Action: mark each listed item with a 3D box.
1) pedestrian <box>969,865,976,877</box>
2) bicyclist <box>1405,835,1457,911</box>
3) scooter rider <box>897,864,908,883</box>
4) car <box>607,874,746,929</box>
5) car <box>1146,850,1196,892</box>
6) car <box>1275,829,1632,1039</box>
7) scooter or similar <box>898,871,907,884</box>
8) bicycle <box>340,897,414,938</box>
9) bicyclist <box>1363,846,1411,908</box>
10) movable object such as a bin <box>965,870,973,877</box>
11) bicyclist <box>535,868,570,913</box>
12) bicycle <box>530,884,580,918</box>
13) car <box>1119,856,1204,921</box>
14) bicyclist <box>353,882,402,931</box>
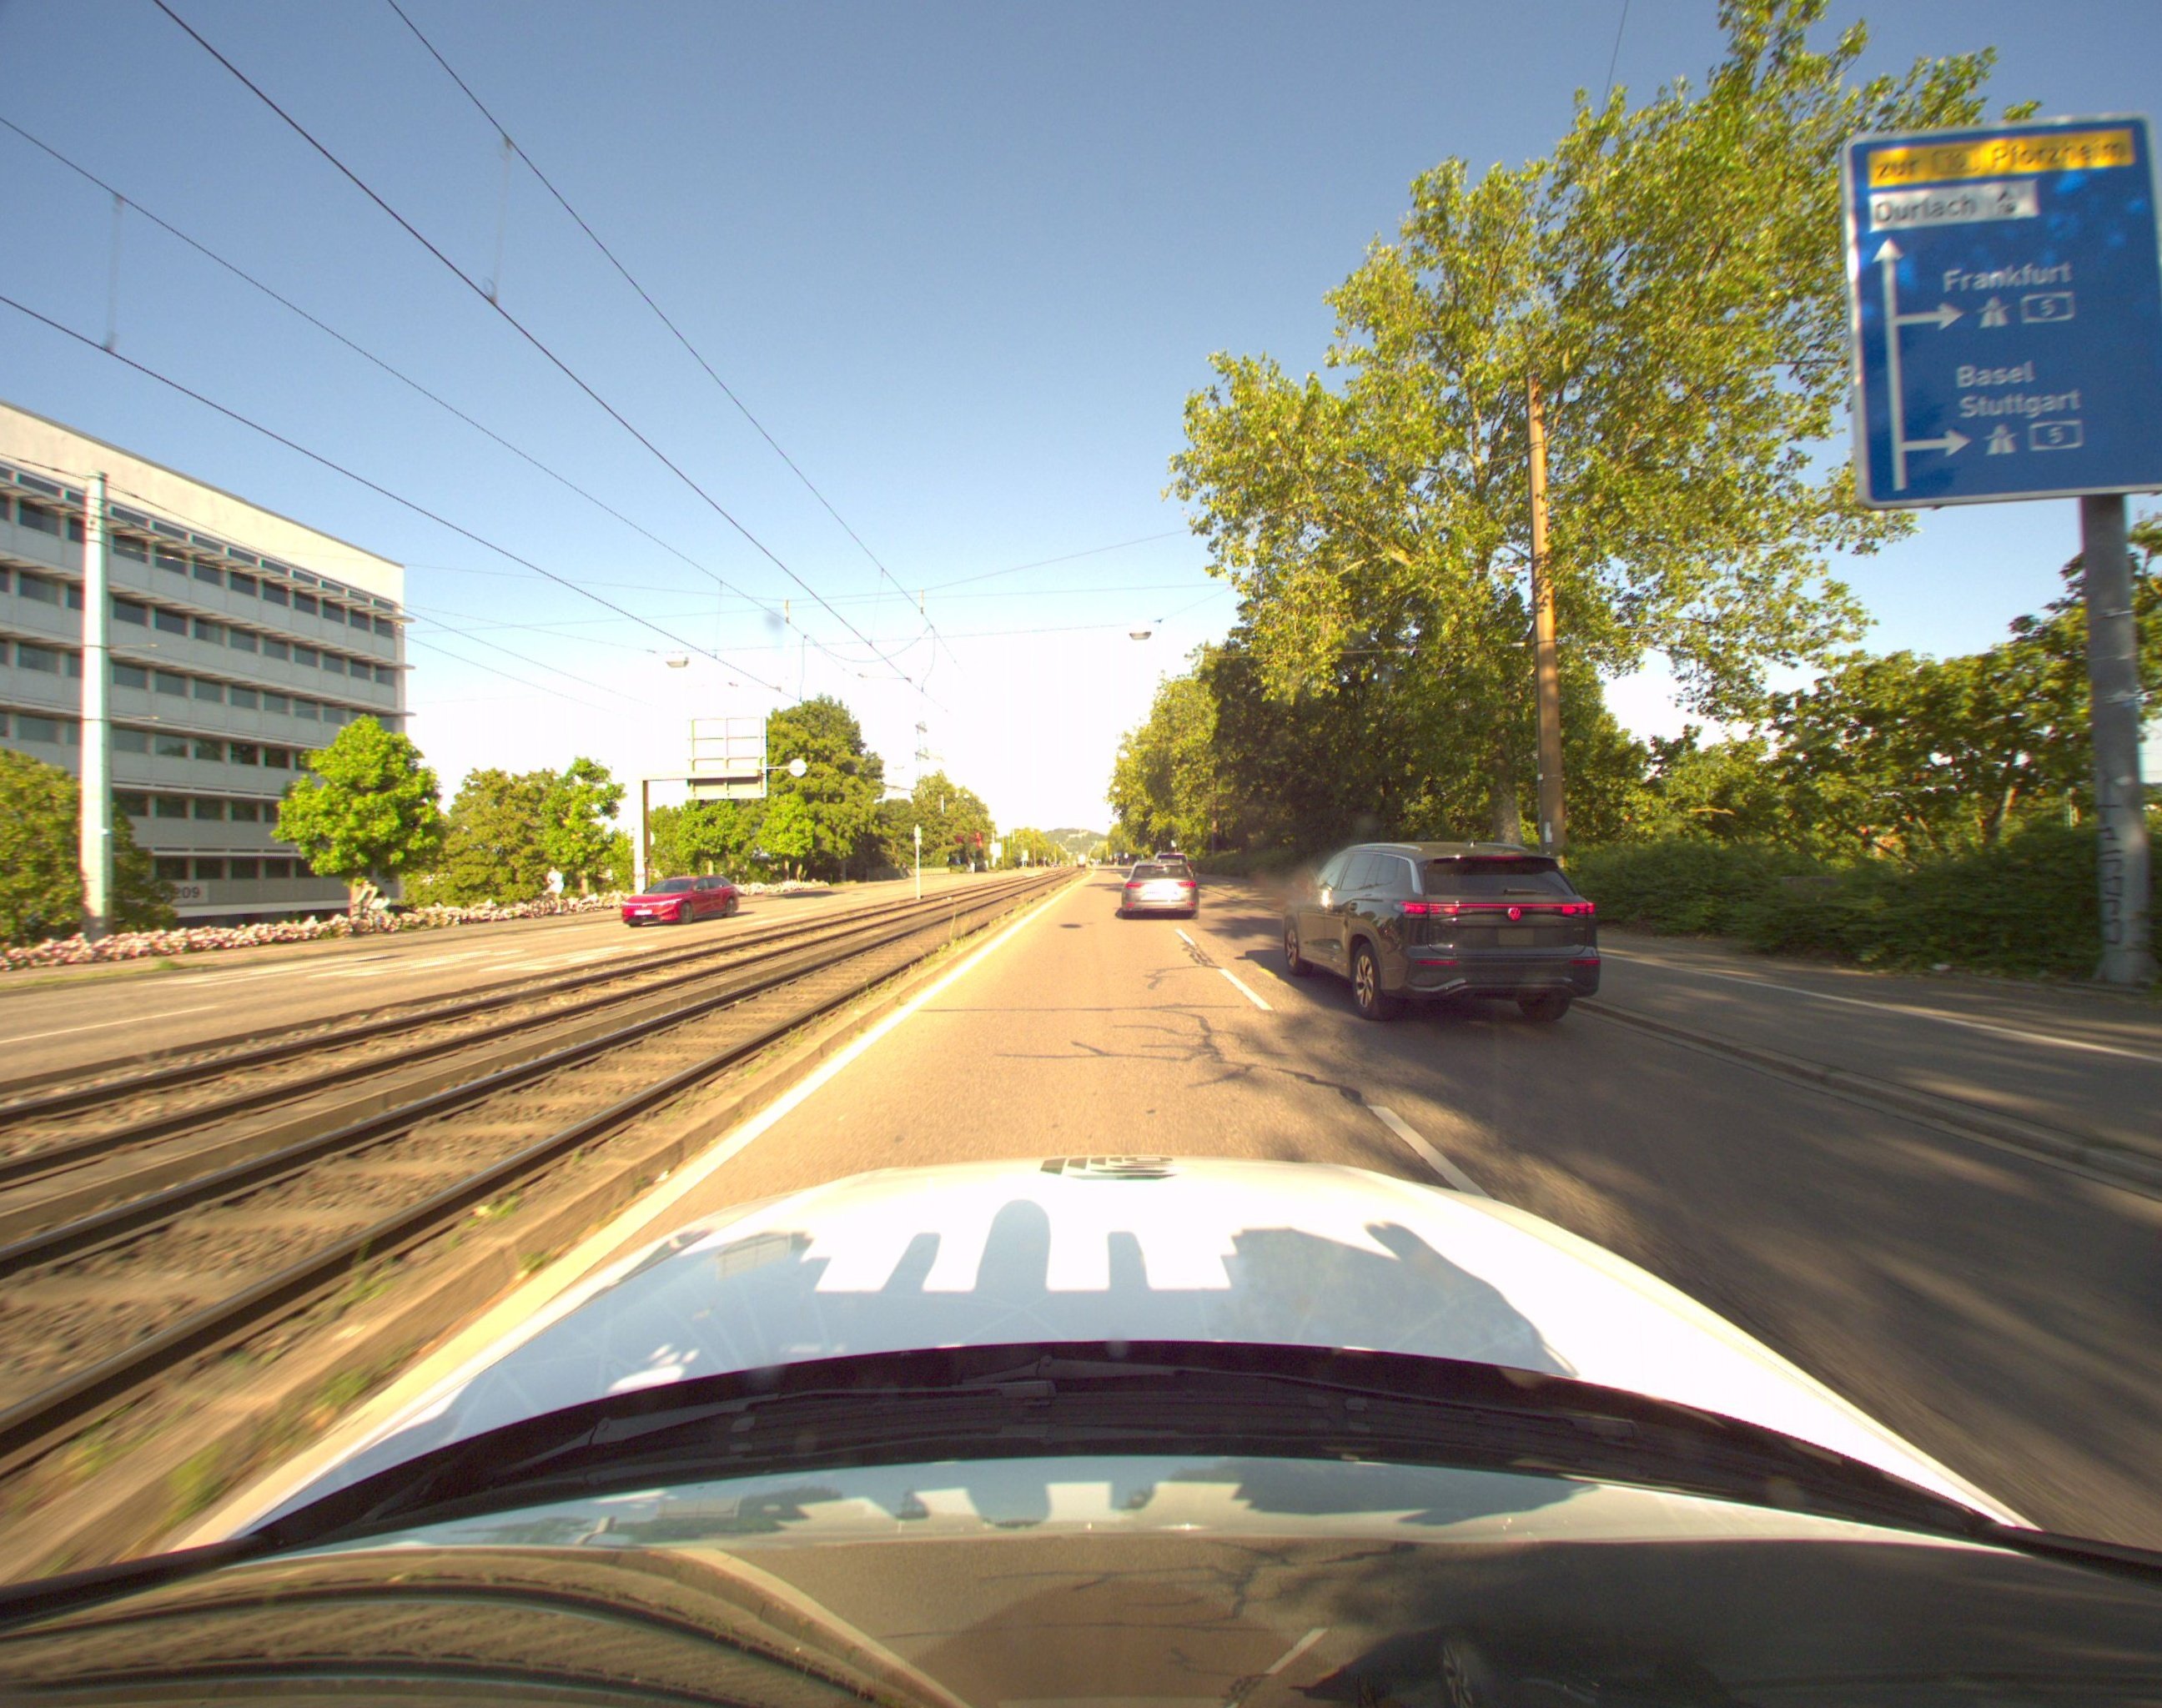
[{"bbox_3d":[-16.529,2.605,123.913,0.718,1.756,0.840,0,-2,23],"label":"pedestrian"},{"bbox_3d":[7.246,0.383,16.875,0.683,1.509,0.891,-1,0,1],"label":"bicyclist"},{"bbox_3d":[-17.738,1.884,80.879,0.678,1.848,1.003,-2,-1,9],"label":"scooter rider"},{"bbox_3d":[-13.341,1.499,27.260,2.032,1.503,4.889,-2,0,2],"label":"car"},{"bbox_3d":[4.044,0.750,37.173,1.877,1.796,4.000,1,0,0],"label":"car"},{"bbox_3d":[3.492,0.661,8.692,1.838,1.661,4.440,0,-1,1],"label":"car"},{"bbox_3d":[-17.722,2.321,80.895,0.469,1.296,1.265,-2,-1,8],"label":"scooter or similar"},{"bbox_3d":[-20.549,1.823,23.799,0.622,1.059,1.704,1,0,1],"label":"bicycle"},{"bbox_3d":[6.306,0.463,16.818,0.639,1.226,0.891,-2,0,1],"label":"bicyclist"},{"bbox_3d":[-16.911,2.960,123.011,0.718,0.961,1.107,0,-2,23],"label":"movable object such as a bin"},{"bbox_3d":[-20.138,1.389,31.037,0.599,1.659,0.965,1,0,7],"label":"bicyclist"},{"bbox_3d":[-20.110,1.781,31.159,0.599,1.219,1.752,1,0,7],"label":"bicycle"},{"bbox_3d":[1.952,0.833,21.048,1.859,1.467,4.667,-1,-1,2],"label":"car"},{"bbox_3d":[-20.544,1.516,23.788,0.622,1.374,0.880,1,0,1],"label":"bicyclist"}]
